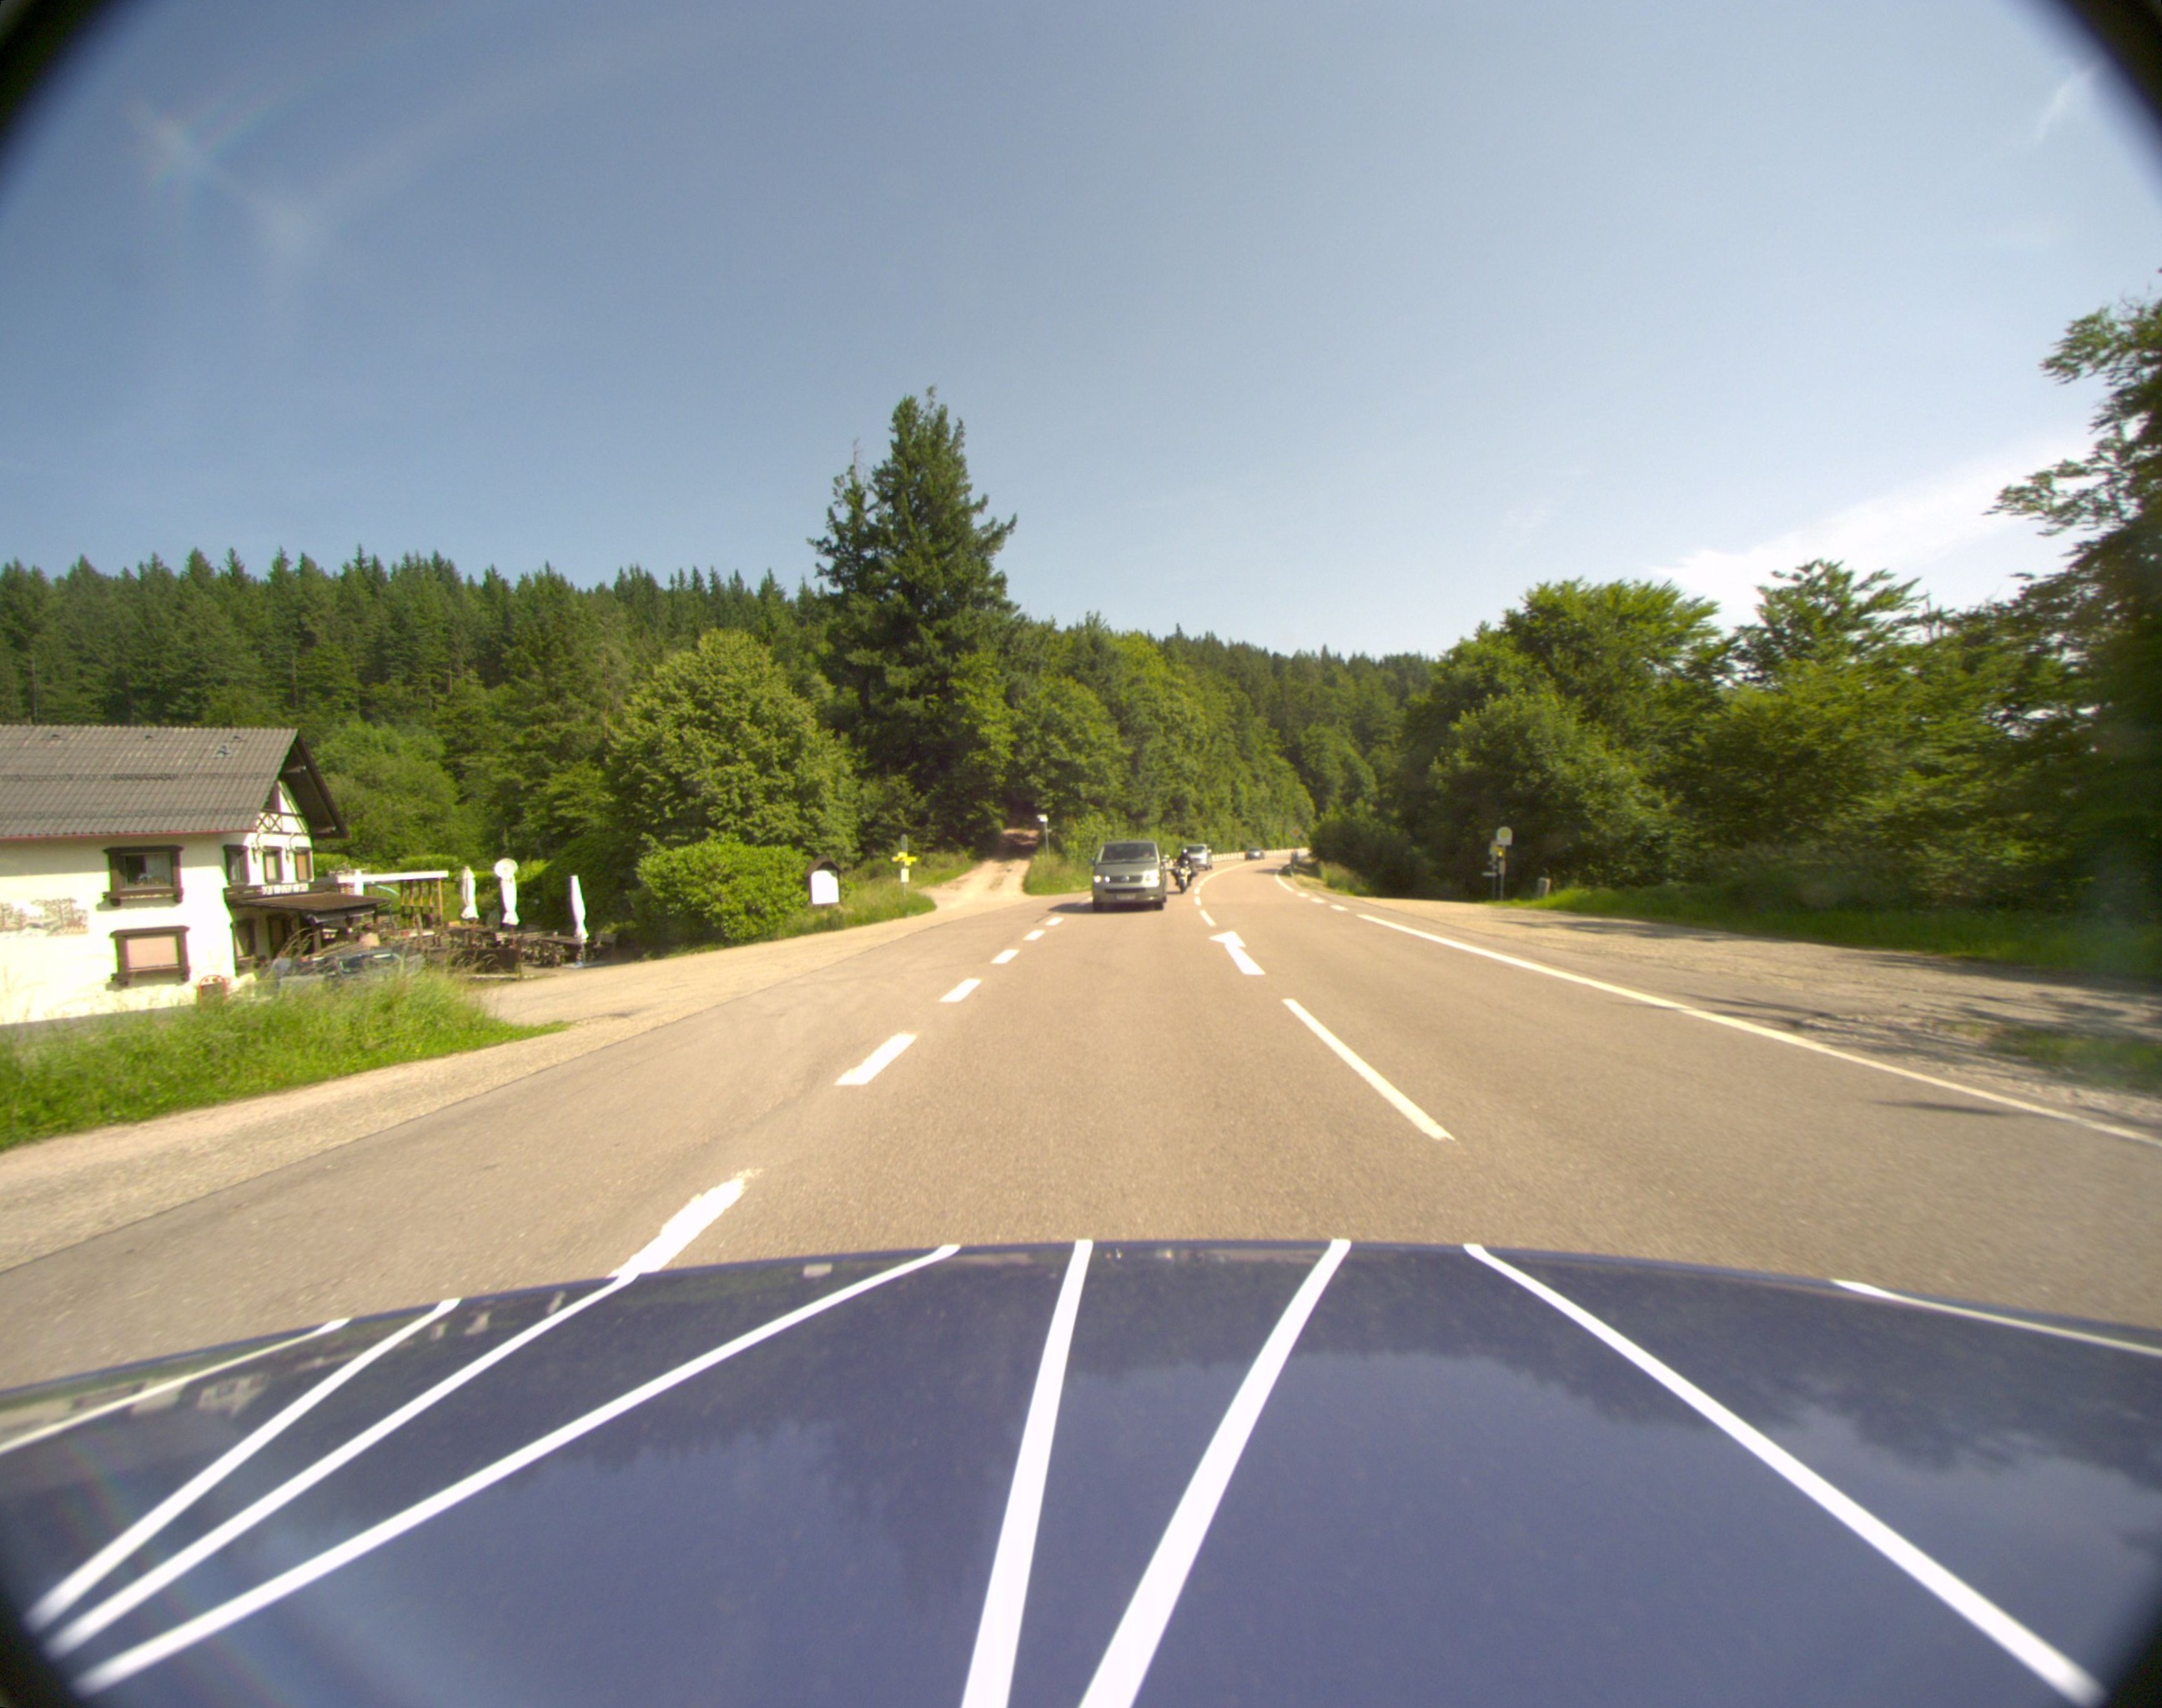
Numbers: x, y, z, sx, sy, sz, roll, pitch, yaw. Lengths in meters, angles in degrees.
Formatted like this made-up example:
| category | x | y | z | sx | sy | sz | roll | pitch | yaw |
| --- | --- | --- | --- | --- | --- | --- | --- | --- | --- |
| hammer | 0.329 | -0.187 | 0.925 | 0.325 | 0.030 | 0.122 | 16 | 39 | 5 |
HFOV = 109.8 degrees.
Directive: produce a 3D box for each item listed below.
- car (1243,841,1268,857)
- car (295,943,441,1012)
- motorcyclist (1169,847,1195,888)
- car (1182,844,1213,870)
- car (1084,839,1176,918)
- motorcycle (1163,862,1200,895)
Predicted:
| category | x | y | z | sx | sy | sz | roll | pitch | yaw |
| --- | --- | --- | --- | --- | --- | --- | --- | --- | --- |
| car | 19.539 | -0.585 | 84.970 | 1.995 | 1.633 | 4.006 | -3 | 0 | 23 |
| car | -22.683 | 3.875 | 24.161 | 4.468 | 1.614 | 1.980 | -5 | 5 | 30 |
| motorcyclist | 3.719 | 0.495 | 27.993 | 0.716 | 1.421 | 1.000 | -4 | 0 | 16 |
| car | 8.458 | 0.175 | 54.867 | 1.651 | 1.749 | 3.798 | -2 | 1 | 17 |
| car | 1.545 | 0.588 | 21.740 | 2.028 | 1.940 | 4.902 | -2 | 1 | 10 |
| motorcycle | 3.726 | 0.893 | 27.957 | 1.108 | 1.117 | 1.962 | -2 | 0 | 13 |
